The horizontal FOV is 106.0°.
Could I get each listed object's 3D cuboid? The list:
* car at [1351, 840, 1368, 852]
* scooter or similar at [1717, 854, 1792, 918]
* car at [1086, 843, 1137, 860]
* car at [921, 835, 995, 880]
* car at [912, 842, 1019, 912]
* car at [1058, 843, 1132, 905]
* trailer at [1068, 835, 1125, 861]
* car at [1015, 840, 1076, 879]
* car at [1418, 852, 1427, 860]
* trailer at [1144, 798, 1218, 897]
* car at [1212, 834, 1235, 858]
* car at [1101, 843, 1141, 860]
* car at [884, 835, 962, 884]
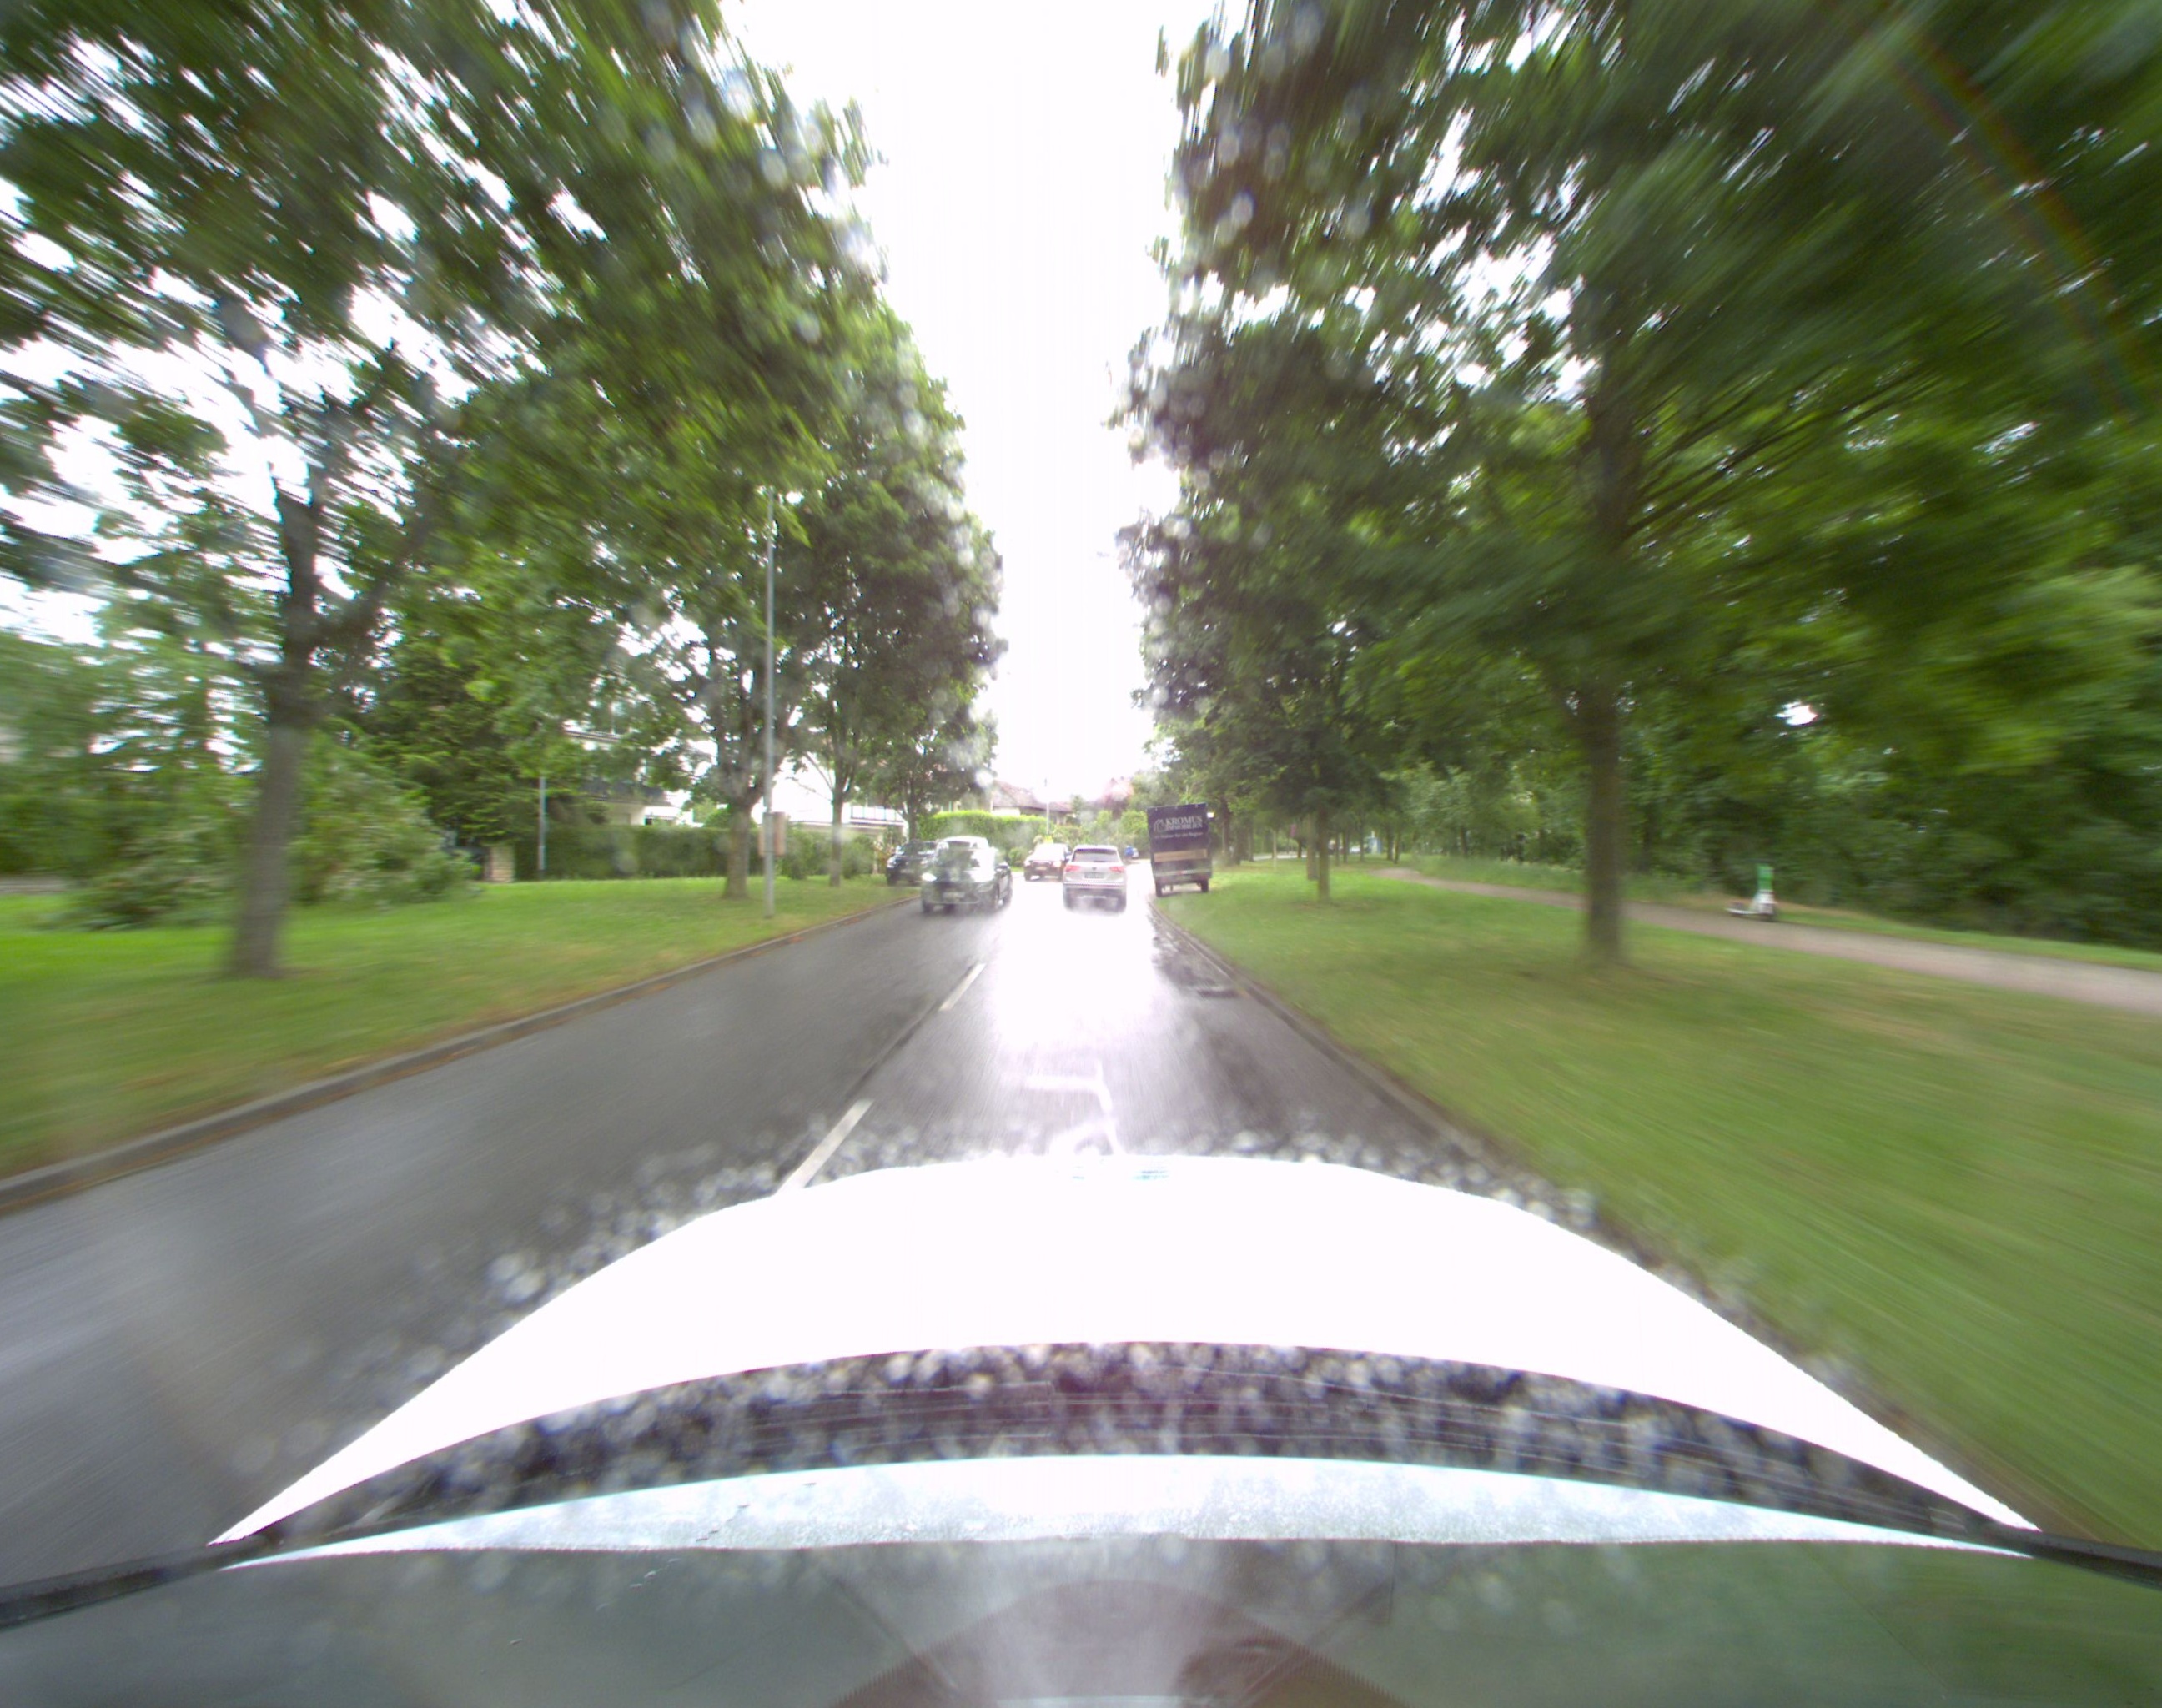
[{"bbox_3d":[42.453,-1.210,124.219,1.976,1.804,4.023,2,0,25],"label":"car"},{"bbox_3d":[12.767,0.589,15.470,0.460,1.146,1.304,-1,0,8],"label":"scooter or similar"},{"bbox_3d":[2.791,-0.248,74.210,4.201,1.539,2.063,1,1,23],"label":"car"},{"bbox_3d":[-5.260,0.129,35.535,1.787,1.795,4.385,2,0,11],"label":"car"},{"bbox_3d":[-2.841,0.501,20.907,1.781,1.537,4.098,2,1,5],"label":"car"},{"bbox_3d":[0.387,0.530,24.188,1.968,1.653,4.176,1,0,0],"label":"car"},{"bbox_3d":[1.376,-0.540,71.116,4.579,2.171,1.825,1,1,23],"label":"trailer"},{"bbox_3d":[-1.617,0.214,38.632,1.840,1.691,4.419,1,1,11],"label":"car"},{"bbox_3d":[73.221,0.471,174.657,1.410,1.570,3.446,2,0,18],"label":"car"},{"bbox_3d":[3.222,-0.229,27.269,1.985,2.808,5.615,-5,0,4],"label":"trailer"},{"bbox_3d":[12.755,-0.700,72.612,1.889,2.013,3.956,2,0,11],"label":"car"},{"bbox_3d":[3.762,-0.267,77.332,3.373,1.519,1.740,1,1,23],"label":"car"},{"bbox_3d":[-5.777,0.195,30.303,1.743,1.640,4.595,2,0,3],"label":"car"}]
